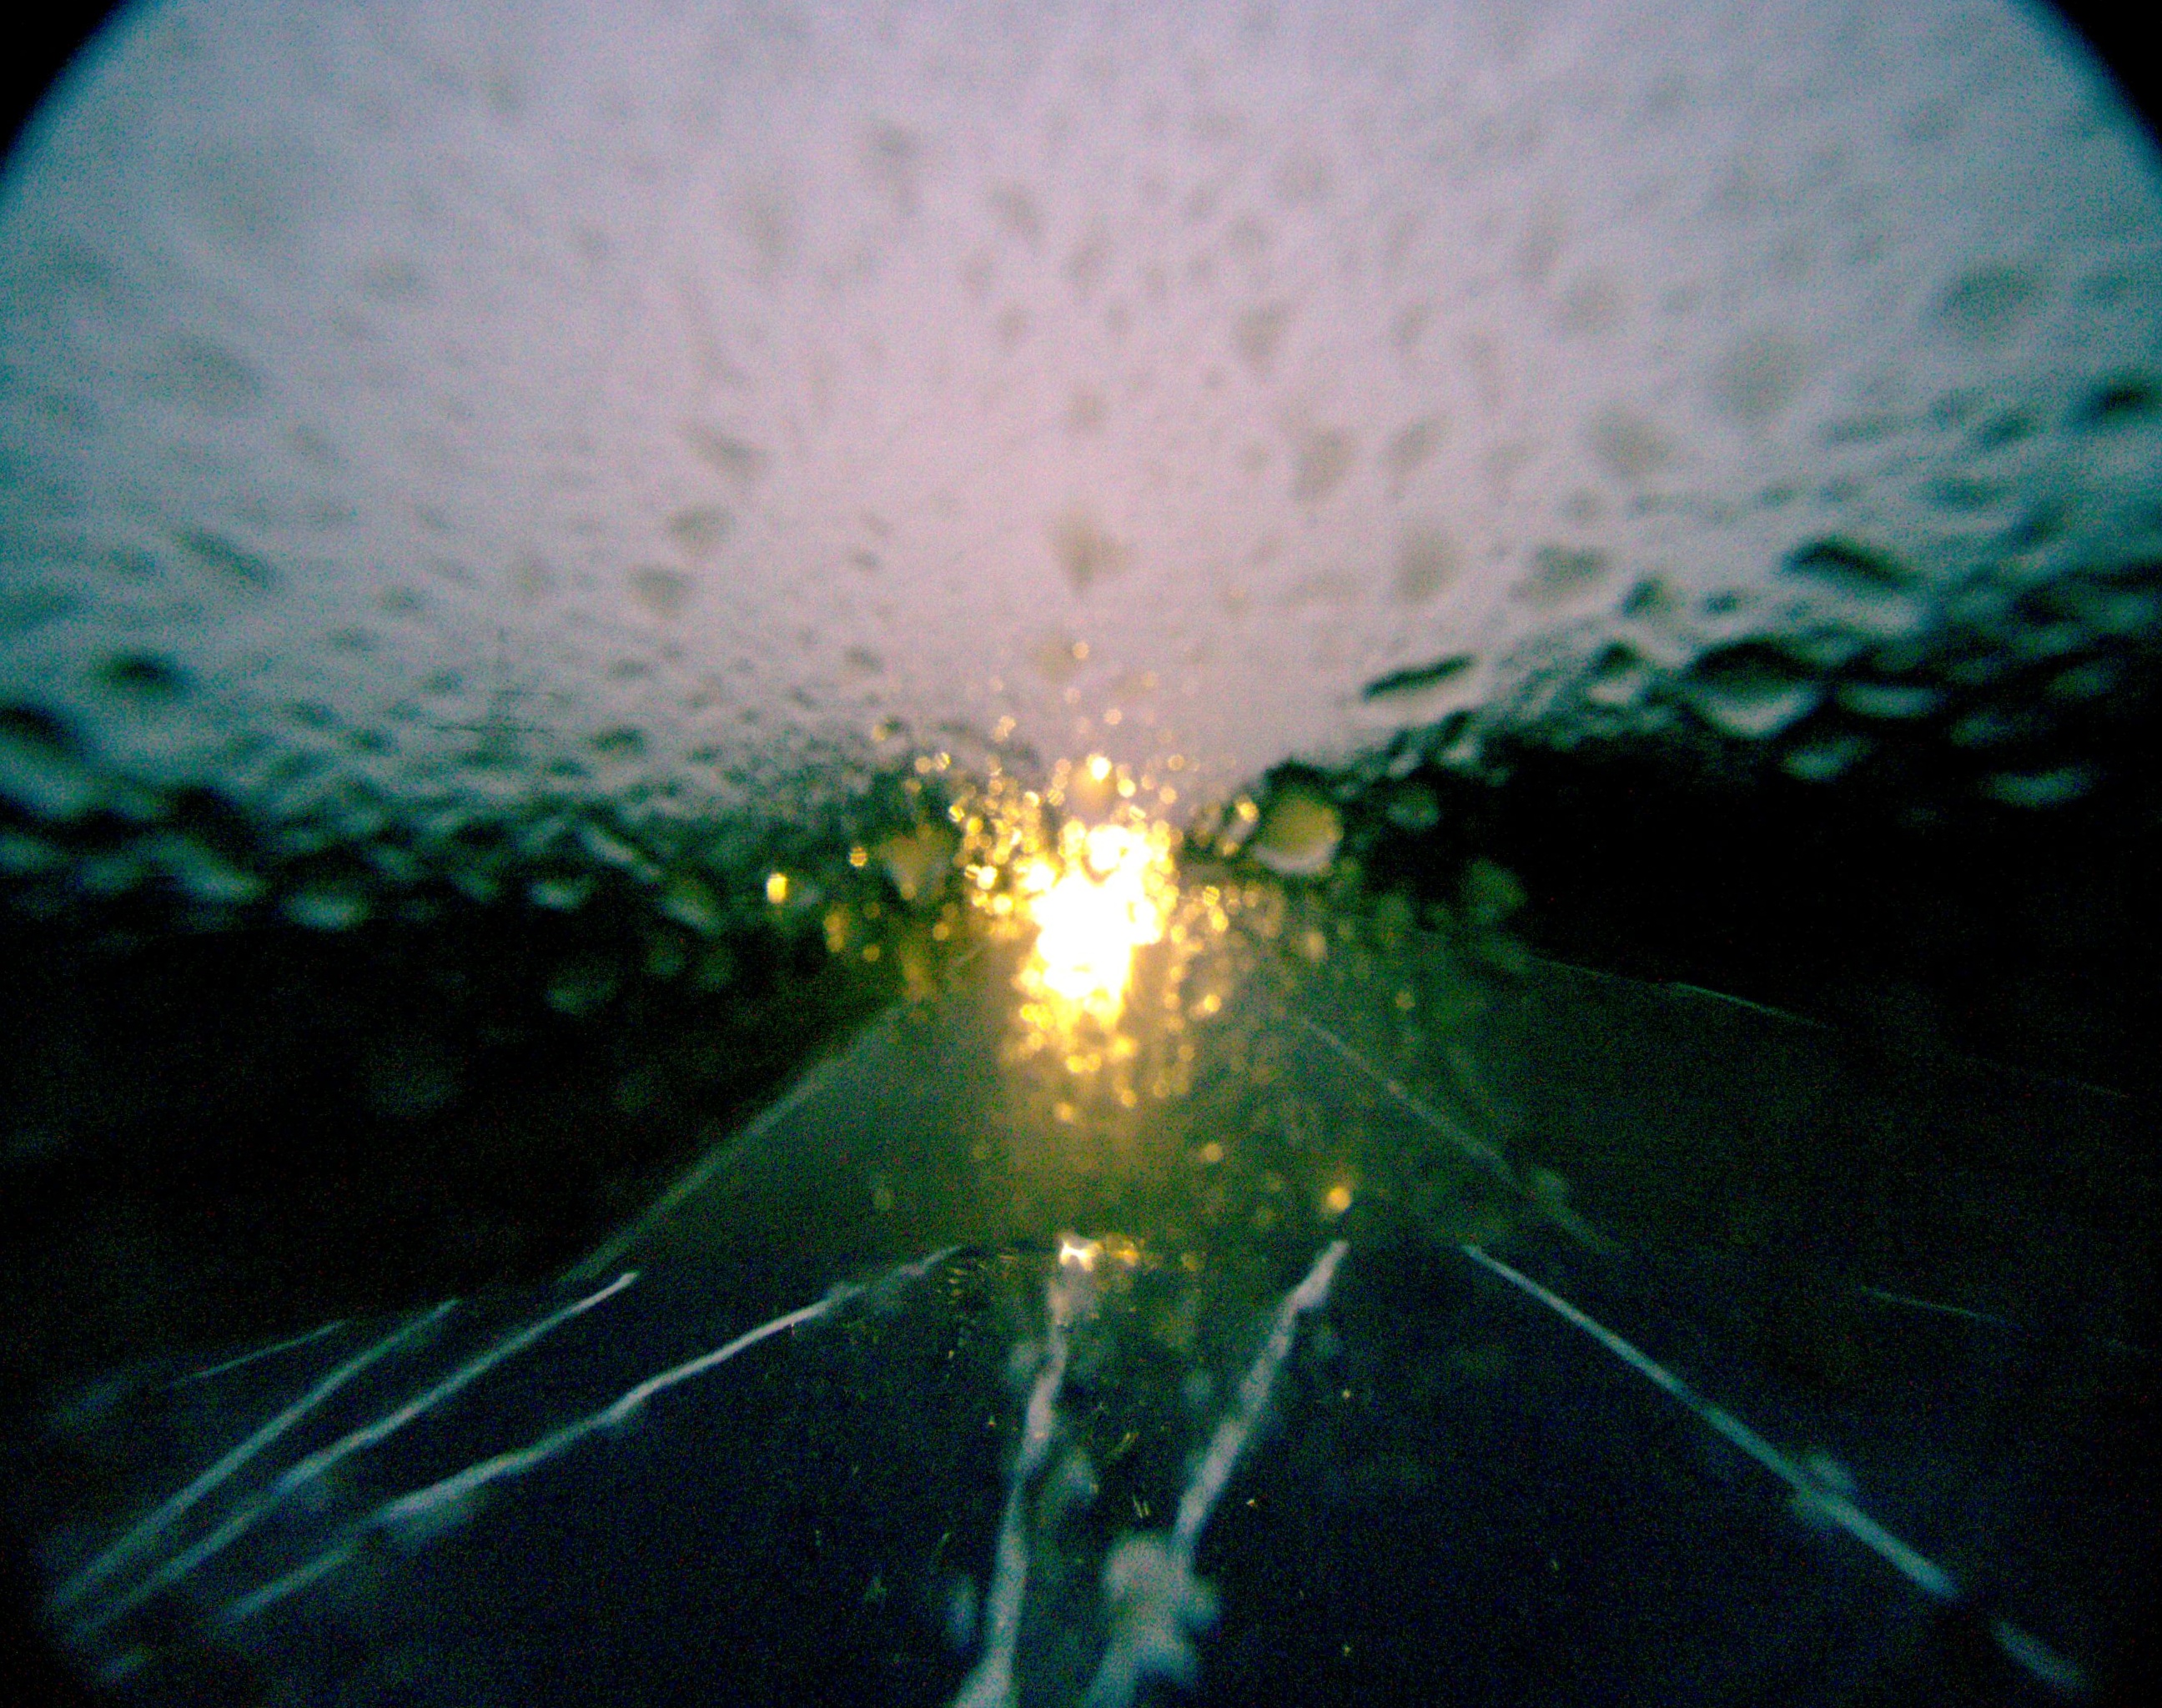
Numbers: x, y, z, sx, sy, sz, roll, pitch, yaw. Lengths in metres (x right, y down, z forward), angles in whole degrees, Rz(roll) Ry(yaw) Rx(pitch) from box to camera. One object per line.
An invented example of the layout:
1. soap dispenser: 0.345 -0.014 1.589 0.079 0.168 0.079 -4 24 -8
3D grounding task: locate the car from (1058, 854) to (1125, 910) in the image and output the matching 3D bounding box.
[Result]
1. car: 0.449 0.861 25.497 1.998 1.601 4.000 -2 1 3

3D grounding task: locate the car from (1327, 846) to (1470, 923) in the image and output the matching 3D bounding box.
1. car: 7.207 0.622 17.678 1.780 1.599 3.773 0 1 1
